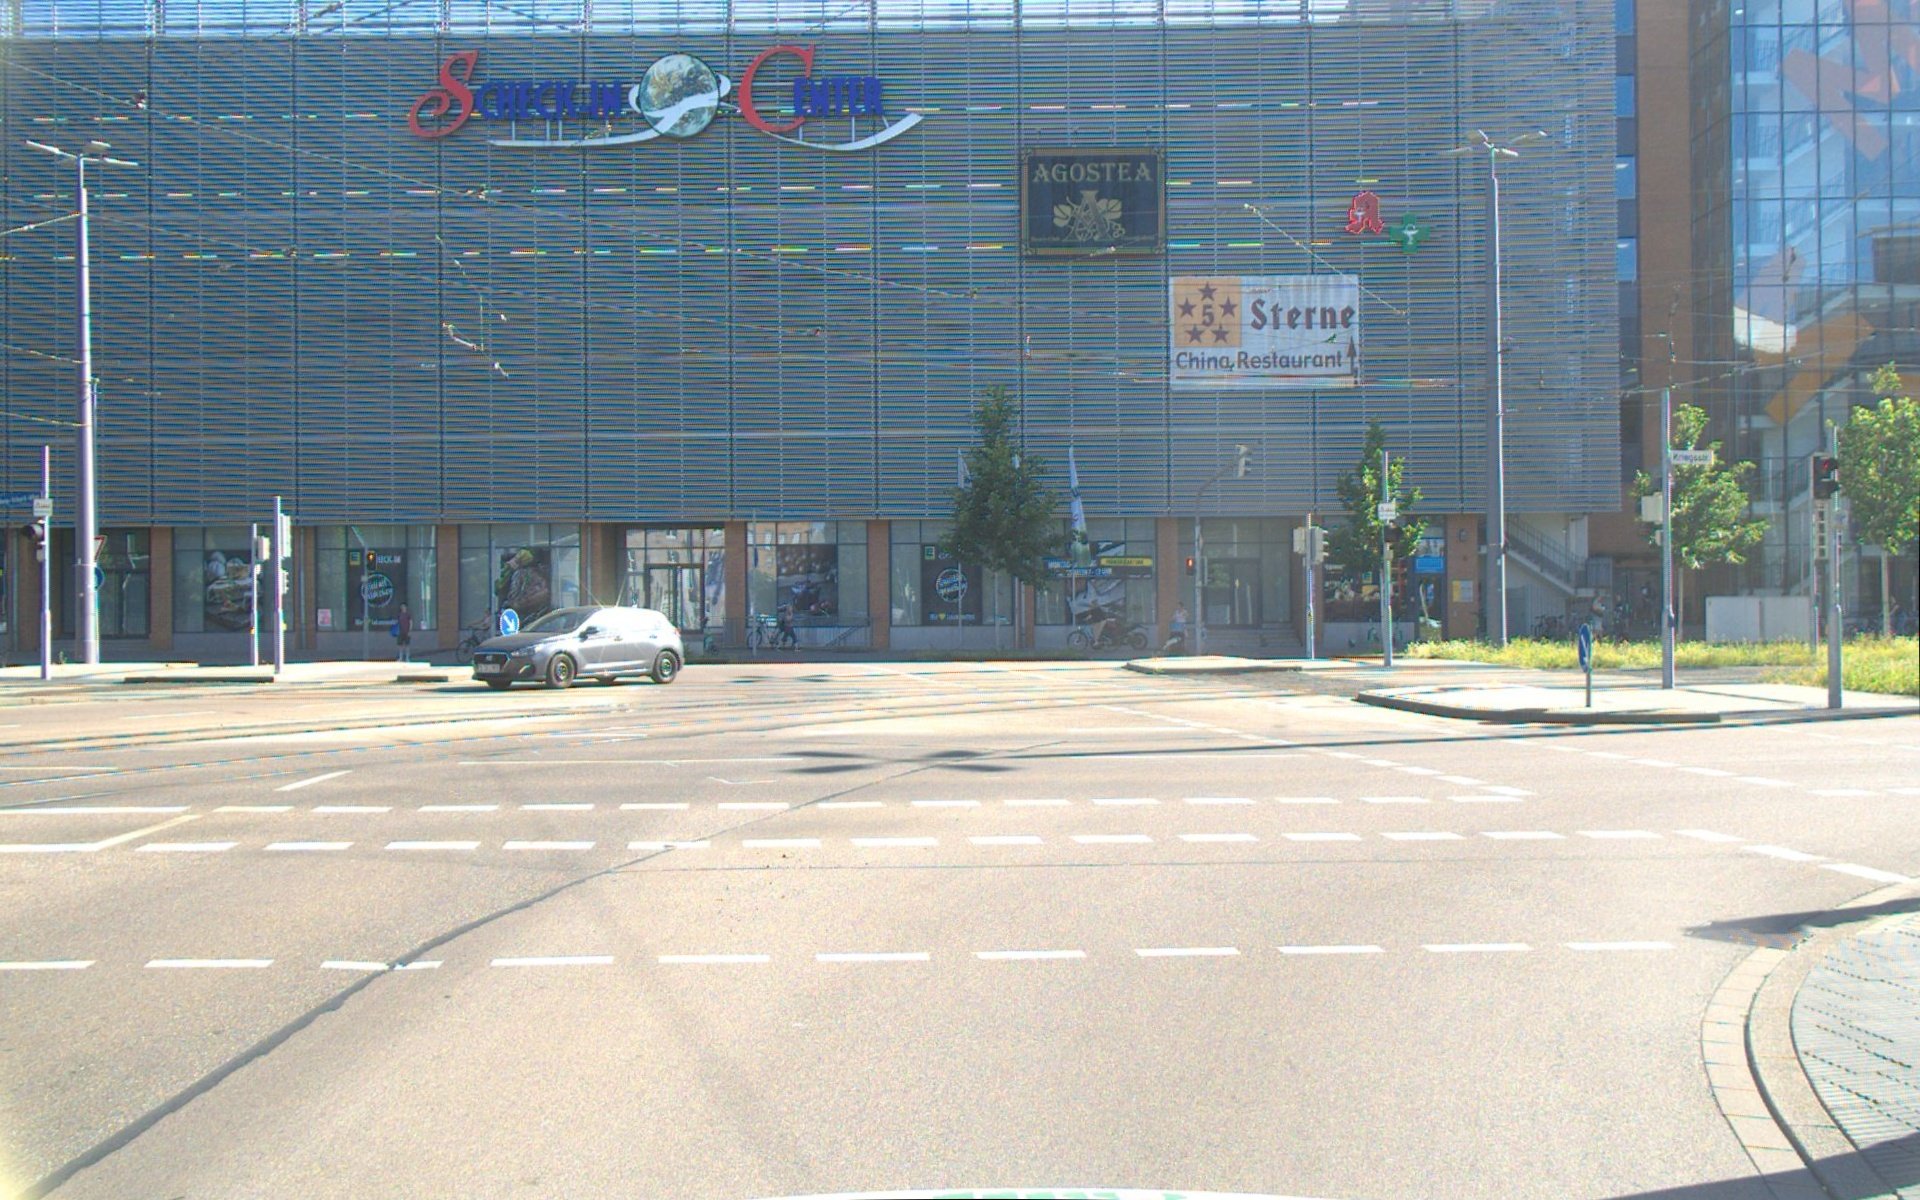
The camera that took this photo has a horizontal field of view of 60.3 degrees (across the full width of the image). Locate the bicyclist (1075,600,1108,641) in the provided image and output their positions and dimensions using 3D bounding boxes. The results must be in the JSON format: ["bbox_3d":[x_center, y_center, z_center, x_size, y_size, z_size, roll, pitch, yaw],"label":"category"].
[{"bbox_3d":[4.372,0.677,54.961,1.015,1.341,0.682,0,-1,-2],"label":"bicyclist"}]

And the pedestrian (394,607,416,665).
[{"bbox_3d":[-17.306,1.113,51.569,0.614,1.782,0.585,0,-1,-19],"label":"pedestrian"}]

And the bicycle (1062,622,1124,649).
[{"bbox_3d":[4.413,1.185,54.952,2.000,0.882,0.682,0,-1,-2],"label":"bicycle"}]

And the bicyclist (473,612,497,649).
[{"bbox_3d":[-14.788,0.946,51.480,0.557,1.159,0.553,0,-1,-34],"label":"bicyclist"}]

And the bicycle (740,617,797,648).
[{"bbox_3d":[-6.637,1.120,57.373,1.907,1.056,0.572,0,-1,-5],"label":"bicycle"}]

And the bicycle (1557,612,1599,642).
[{"bbox_3d":[21.872,0.949,58.559,0.482,0.971,2.177,0,1,-6],"label":"bicycle"}]

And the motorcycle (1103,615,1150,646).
[{"bbox_3d":[5.812,1.075,57.660,1.581,1.056,0.402,-1,-1,0],"label":"motorcycle"}]

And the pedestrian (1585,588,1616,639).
[{"bbox_3d":[21.989,0.456,56.790,0.763,1.714,0.595,0,-1,-14],"label":"pedestrian"}]

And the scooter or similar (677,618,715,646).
[{"bbox_3d":[-8.498,1.031,53.225,1.198,0.866,0.301,0,-1,-4],"label":"scooter or similar"}]

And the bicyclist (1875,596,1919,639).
[{"bbox_3d":[32.269,0.603,56.838,1.281,1.432,0.594,-1,-1,0],"label":"bicyclist"}]

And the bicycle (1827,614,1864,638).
[{"bbox_3d":[32.049,0.921,59.876,0.436,0.833,1.449,0,1,-6],"label":"bicycle"}]

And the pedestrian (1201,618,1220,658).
[{"bbox_3d":[7.836,1.179,51.709,0.441,1.250,0.395,0,-1,-22],"label":"pedestrian"}]

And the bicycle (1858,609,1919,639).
[{"bbox_3d":[32.269,0.817,56.835,2.508,1.028,0.598,-1,-1,0],"label":"bicycle"}]

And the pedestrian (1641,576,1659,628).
[{"bbox_3d":[26.037,0.068,62.441,0.528,1.948,0.374,1,-1,7],"label":"pedestrian"}]

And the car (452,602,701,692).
[{"bbox_3d":[-6.977,0.816,30.479,1.959,1.526,4.295,-1,-1,34],"label":"car"}]

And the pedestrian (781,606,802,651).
[{"bbox_3d":[-5.750,0.969,56.387,0.633,1.545,0.491,-1,-1,4],"label":"pedestrian"}]

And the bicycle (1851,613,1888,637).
[{"bbox_3d":[32.945,0.903,59.927,0.436,0.833,1.449,0,1,-6],"label":"bicycle"}]

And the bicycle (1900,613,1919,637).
[{"bbox_3d":[34.755,0.917,59.928,0.436,0.833,1.449,0,1,-6],"label":"bicycle"}]

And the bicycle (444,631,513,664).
[{"bbox_3d":[-14.978,1.468,51.422,1.997,1.003,0.553,0,-1,-34],"label":"bicycle"}]

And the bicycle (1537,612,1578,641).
[{"bbox_3d":[21.075,0.934,58.378,0.482,0.971,2.177,0,1,-6],"label":"bicycle"}]

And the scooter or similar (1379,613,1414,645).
[{"bbox_3d":[15.611,1.024,59.158,1.177,1.122,0.277,1,-1,1],"label":"scooter or similar"}]

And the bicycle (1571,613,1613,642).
[{"bbox_3d":[22.464,0.962,58.820,0.482,0.971,2.177,0,1,-6],"label":"bicycle"}]

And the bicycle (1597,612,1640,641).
[{"bbox_3d":[23.432,0.946,58.899,0.482,0.971,2.177,0,1,-6],"label":"bicycle"}]

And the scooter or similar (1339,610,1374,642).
[{"bbox_3d":[14.118,0.922,58.858,1.177,1.122,0.277,1,-1,1],"label":"scooter or similar"}]

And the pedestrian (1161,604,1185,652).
[{"bbox_3d":[6.768,0.892,52.624,0.723,1.513,0.490,-1,-1,9],"label":"pedestrian"}]
